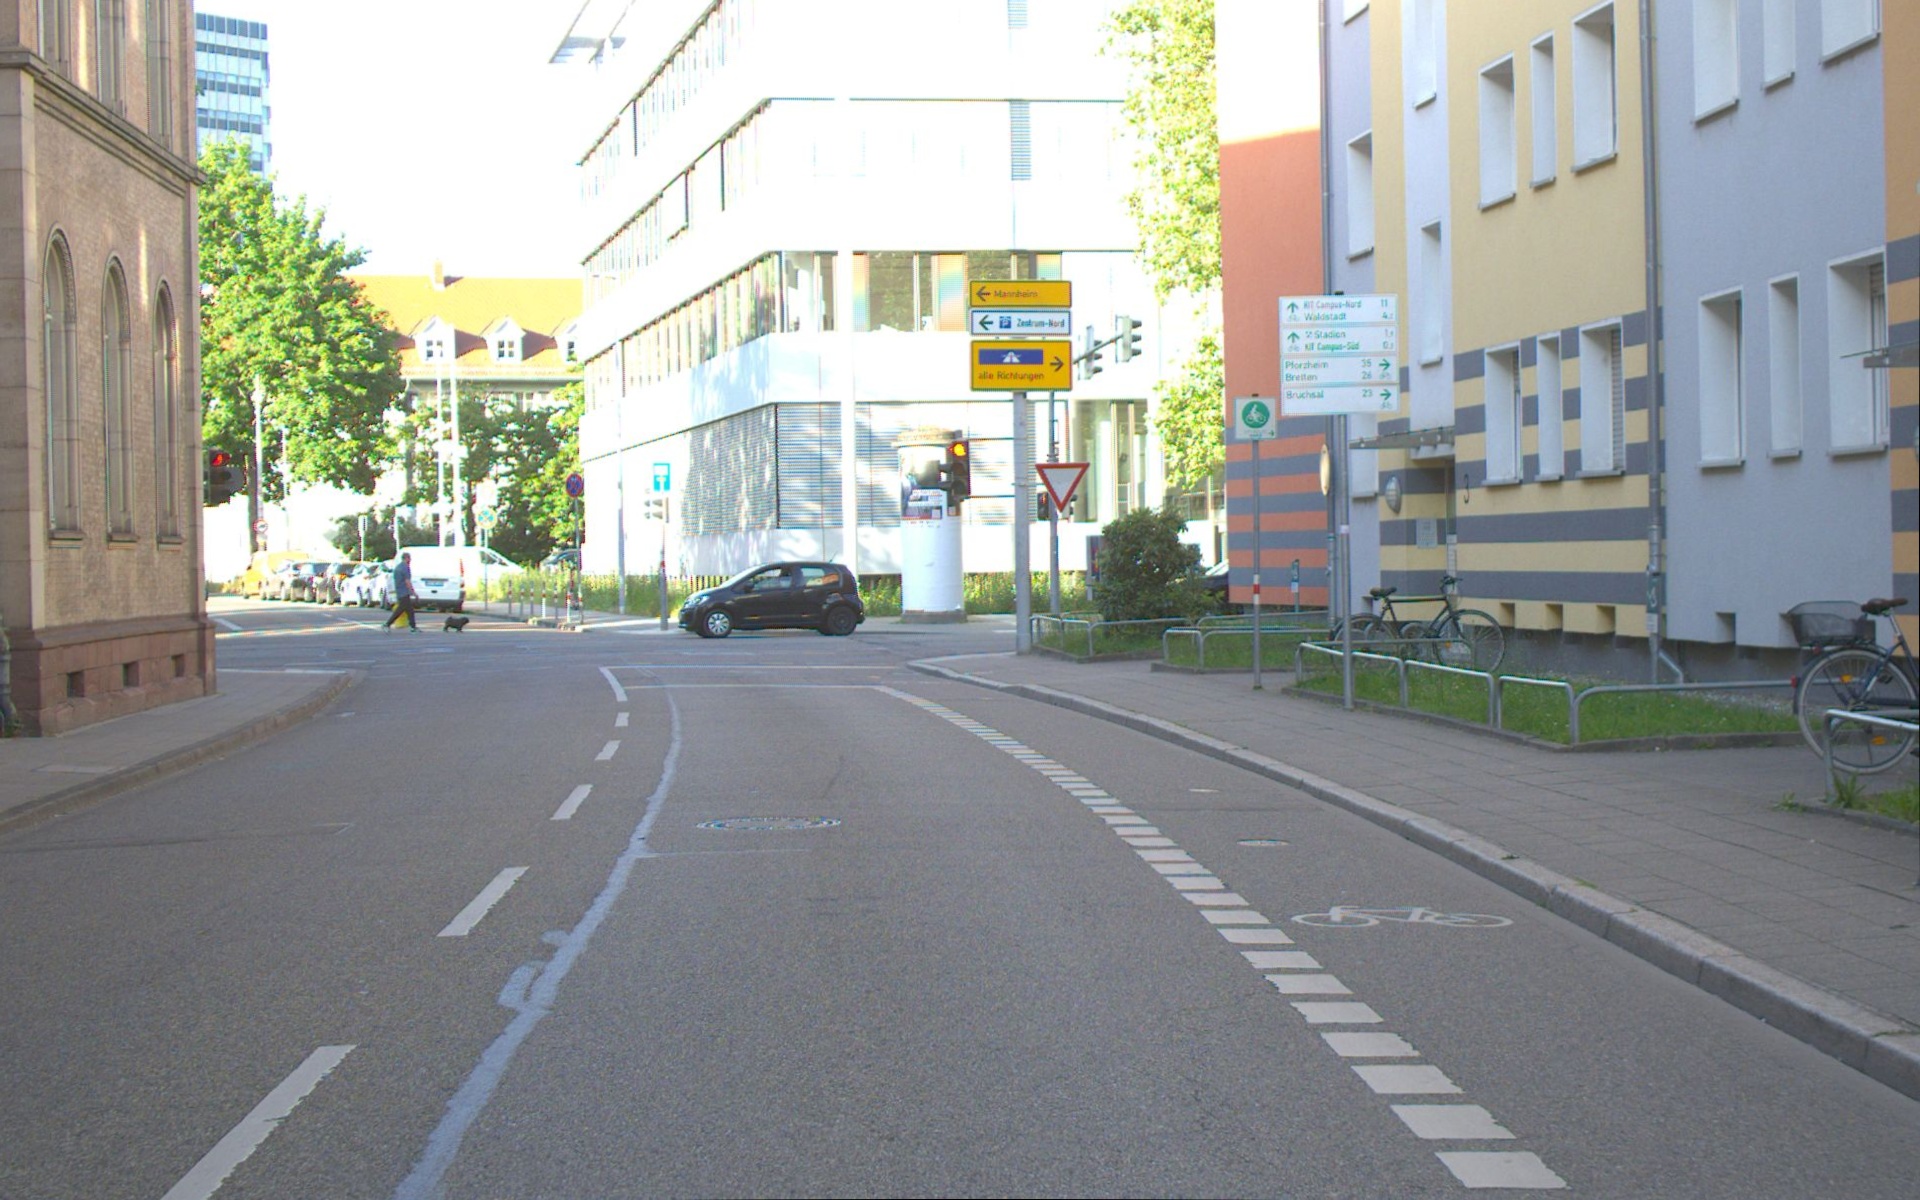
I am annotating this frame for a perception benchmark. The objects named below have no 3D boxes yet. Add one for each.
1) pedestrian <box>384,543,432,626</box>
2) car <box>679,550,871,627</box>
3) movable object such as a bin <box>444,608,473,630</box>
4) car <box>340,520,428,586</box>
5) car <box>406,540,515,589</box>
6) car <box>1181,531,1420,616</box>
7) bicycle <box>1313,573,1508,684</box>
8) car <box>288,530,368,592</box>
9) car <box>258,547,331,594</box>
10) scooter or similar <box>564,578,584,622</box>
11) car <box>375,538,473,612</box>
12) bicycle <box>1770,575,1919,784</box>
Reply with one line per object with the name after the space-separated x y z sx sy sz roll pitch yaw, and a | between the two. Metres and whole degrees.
-11.894 -0.328 74.061 0.926 1.753 0.848 1 0 -14 | pedestrian
-3.612 -0.236 66.800 3.428 1.441 1.775 -1 0 -14 | car
-11.006 0.417 75.411 0.589 0.479 0.286 -1 1 -17 | movable object such as a bin
-18.940 -1.520 112.897 2.329 2.105 5.007 1 0 -16 | car
-20.236 -1.417 139.249 3.986 1.909 1.920 1 0 -24 | car
6.827 -0.542 69.099 4.364 1.627 2.001 -1 1 -13 | car
4.382 0.273 33.483 1.753 1.000 0.613 -2 0 -6 | bicycle
-22.493 -1.359 122.303 2.329 2.105 5.007 1 0 -16 | car
-25.580 -1.110 132.110 2.329 1.727 5.007 1 0 -16 | car
-9.340 -0.008 83.218 0.325 1.056 1.143 -1 1 -13 | scooter or similar
-15.908 -0.724 101.814 2.423 2.105 5.233 1 0 -13 | car
5.522 0.425 19.255 1.810 1.133 0.552 -1 0 -2 | bicycle
